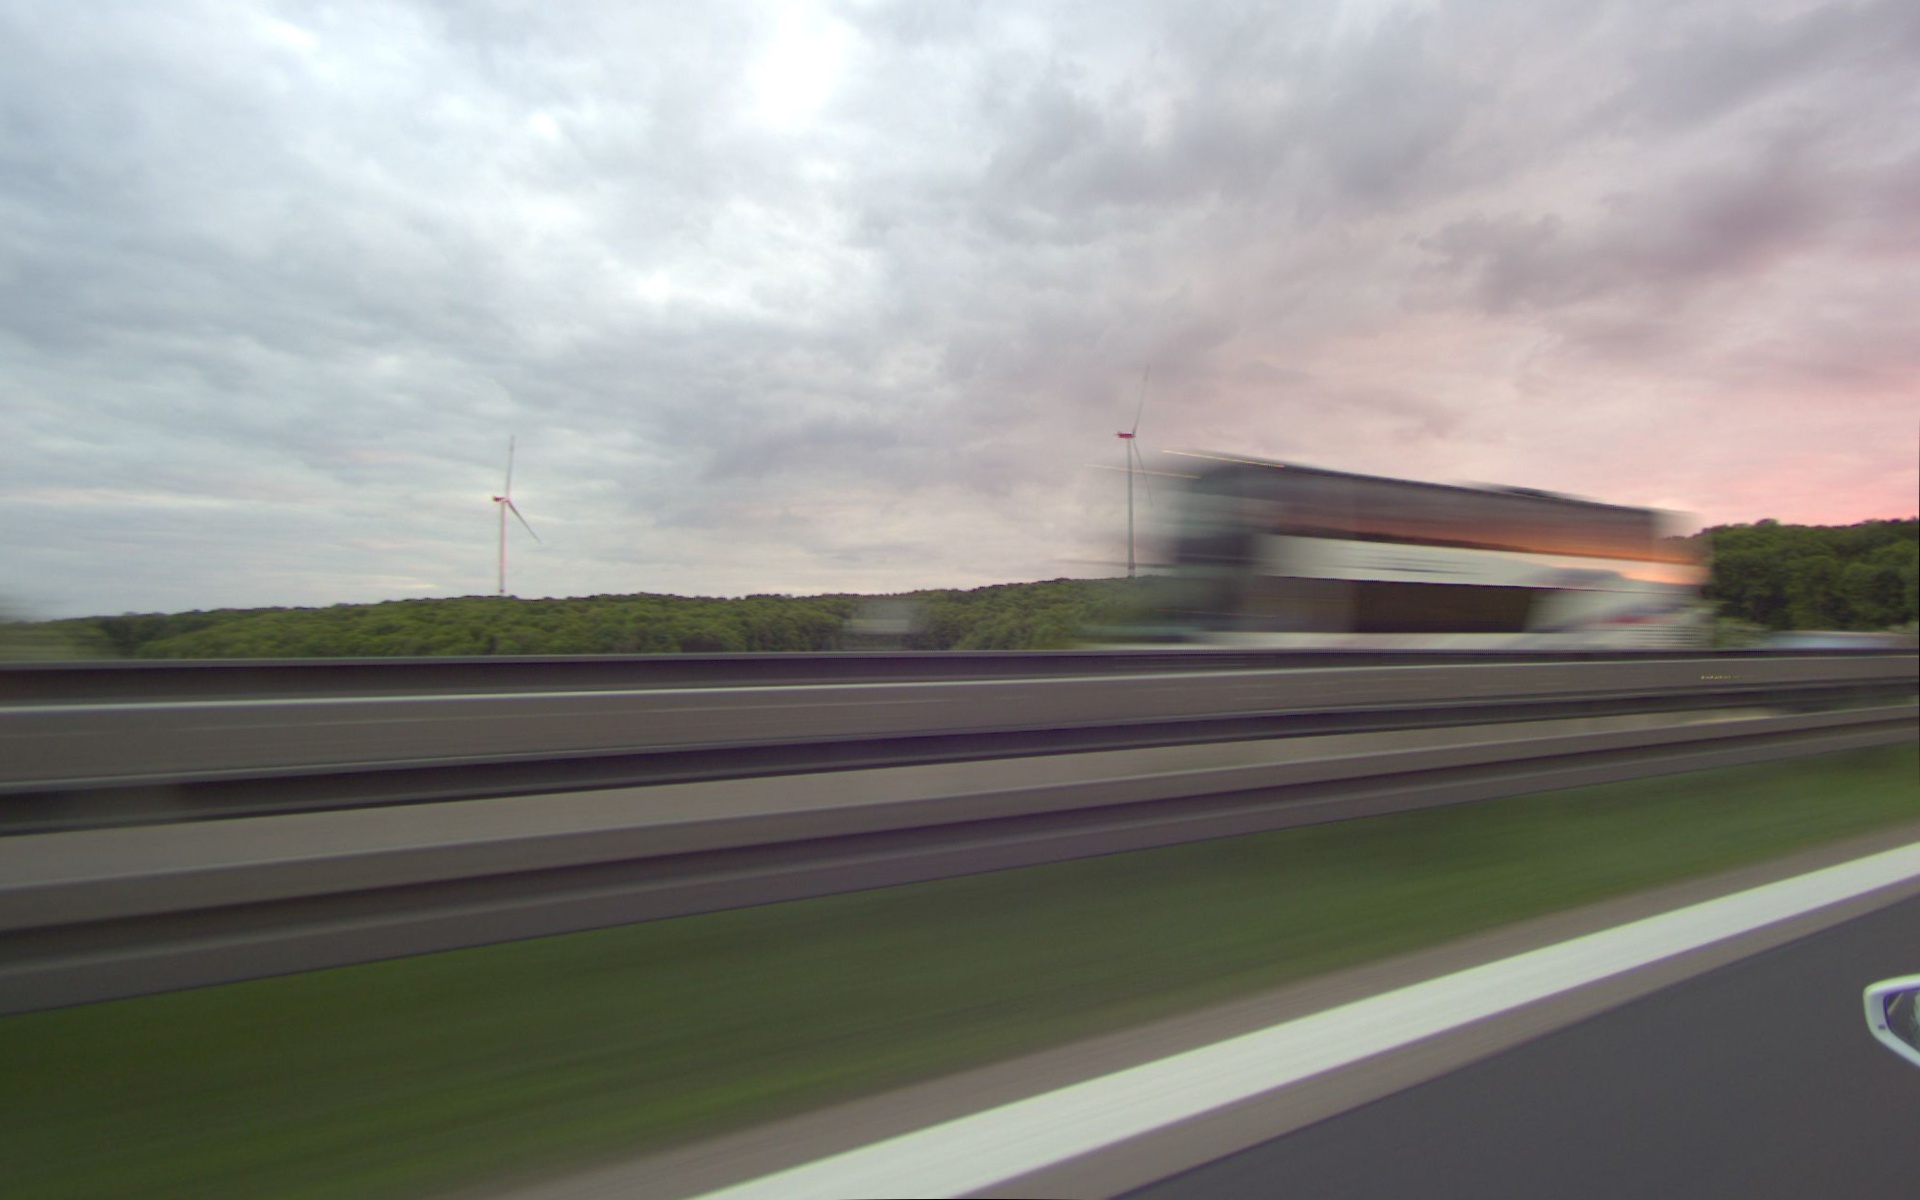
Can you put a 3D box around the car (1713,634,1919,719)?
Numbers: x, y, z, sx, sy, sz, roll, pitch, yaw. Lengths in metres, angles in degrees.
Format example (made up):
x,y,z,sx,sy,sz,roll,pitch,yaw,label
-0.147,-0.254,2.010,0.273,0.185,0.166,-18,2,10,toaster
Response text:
x,y,z,sx,sy,sz,roll,pitch,yaw,label
16.768,1.417,19.528,4.116,1.494,1.844,1,-2,-28,car

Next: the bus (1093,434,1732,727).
x,y,z,sx,sy,sz,roll,pitch,yaw,label
9.393,-0.056,19.224,14.636,4.130,3.151,2,0,-30,bus
